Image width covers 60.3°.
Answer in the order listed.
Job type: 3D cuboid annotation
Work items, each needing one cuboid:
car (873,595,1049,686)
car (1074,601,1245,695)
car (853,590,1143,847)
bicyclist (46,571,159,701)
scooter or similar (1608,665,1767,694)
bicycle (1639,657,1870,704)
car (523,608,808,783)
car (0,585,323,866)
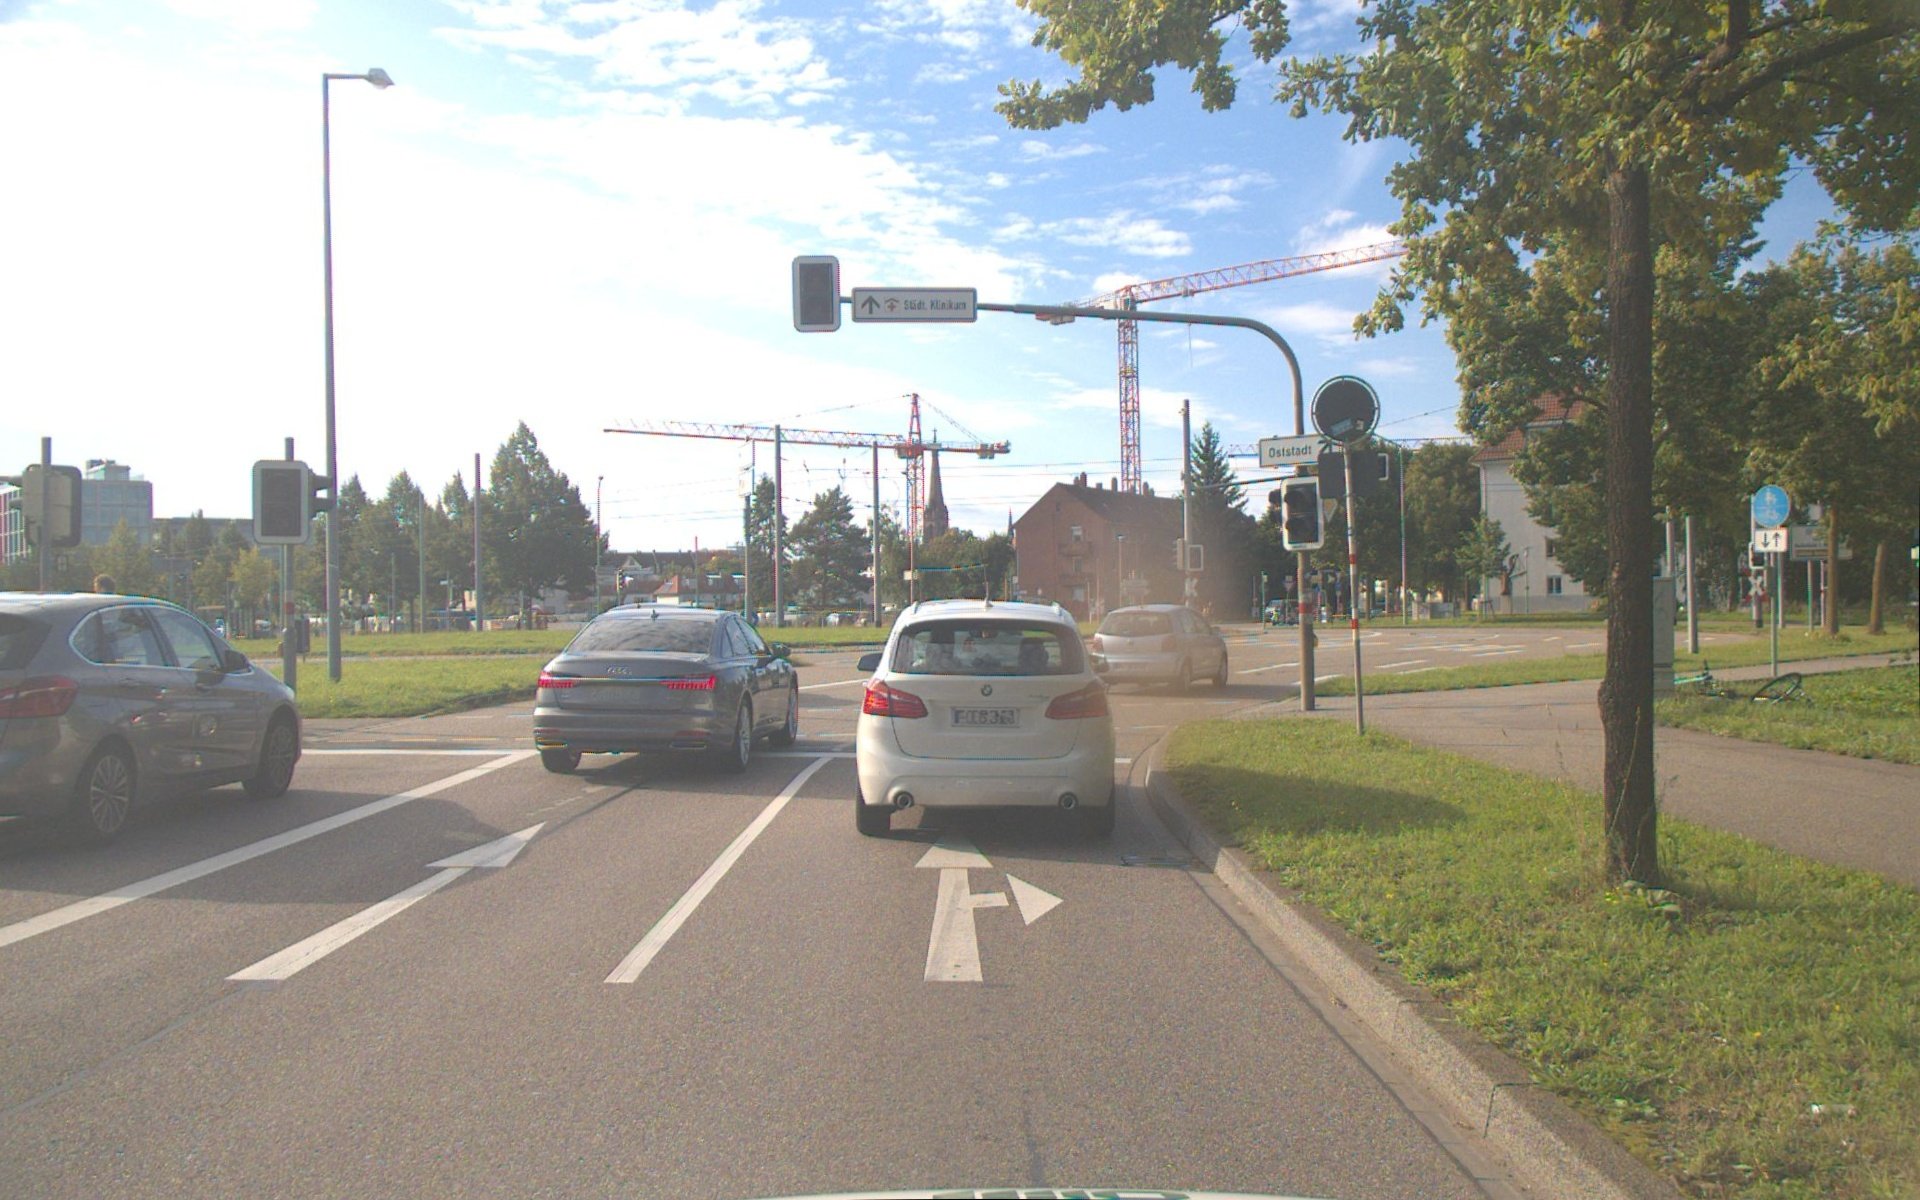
[{"bbox_3d":[0.109,0.723,31.892,1.813,1.503,4.455,-1,1,22],"label":"car"},{"bbox_3d":[3.568,0.772,28.867,1.813,1.451,4.454,0,1,23],"label":"car"},{"bbox_3d":[0.213,0.756,12.578,1.813,1.600,4.454,0,0,-1],"label":"car"},{"bbox_3d":[-10.774,0.449,20.813,0.845,1.583,0.998,-1,-1,4],"label":"bicyclist"},{"bbox_3d":[9.804,1.069,22.314,1.529,0.286,1.283,-1,0,-25],"label":"scooter or similar"},{"bbox_3d":[9.276,0.929,19.399,1.077,0.352,2.223,0,2,-34],"label":"bicycle"},{"bbox_3d":[-2.700,0.823,16.275,1.812,1.470,4.716,0,0,2],"label":"car"},{"bbox_3d":[-6.046,0.730,11.449,1.732,1.600,4.066,0,0,-1],"label":"car"}]
